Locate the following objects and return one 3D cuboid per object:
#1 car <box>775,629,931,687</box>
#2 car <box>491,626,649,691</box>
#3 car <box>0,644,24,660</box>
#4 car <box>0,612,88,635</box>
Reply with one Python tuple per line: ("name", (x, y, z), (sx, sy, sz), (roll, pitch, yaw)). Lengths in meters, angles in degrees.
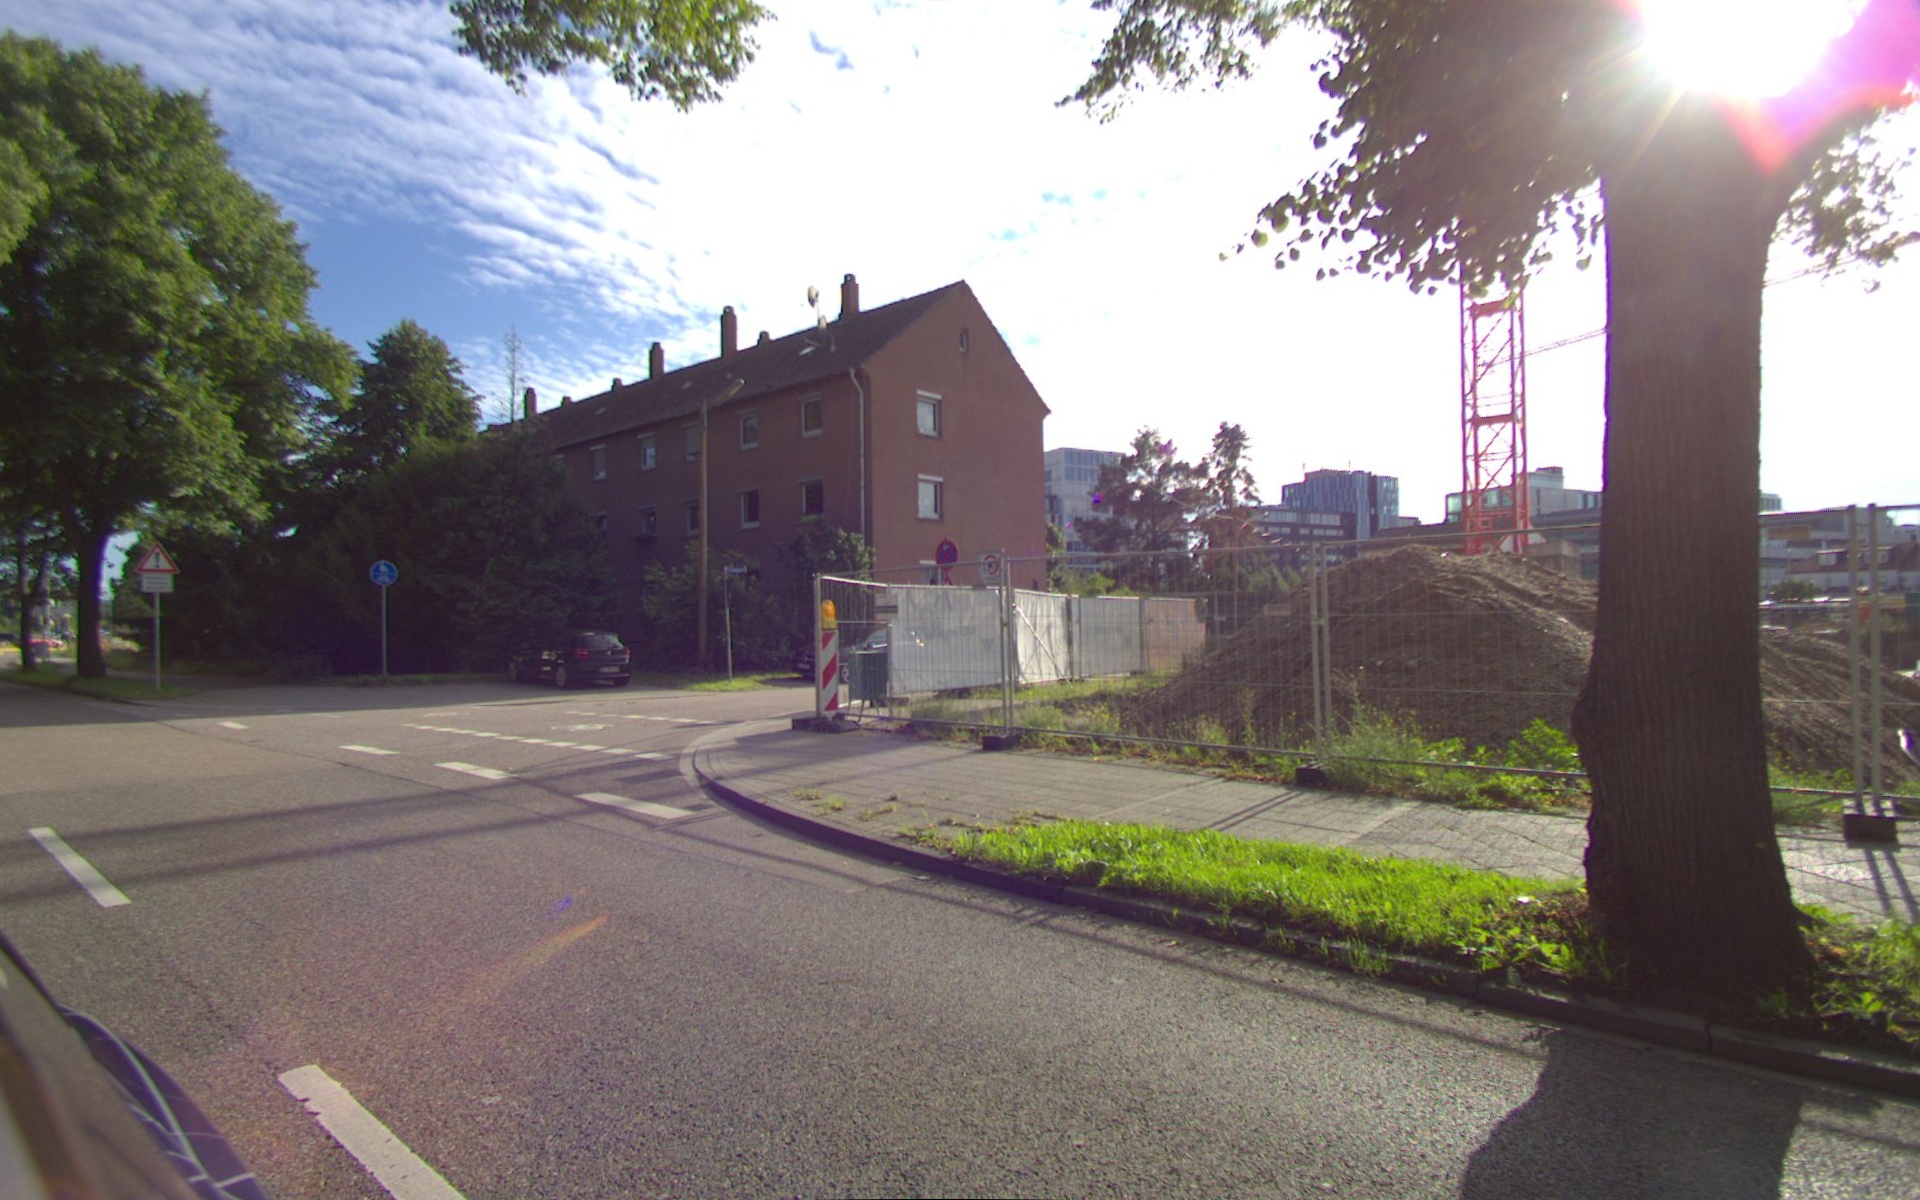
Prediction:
("car", (-2.931, 1.557, 28.187), (2.001, 1.314, 3.942), (4, 2, 44))
("car", (-9.926, 1.411, 25.581), (4.508, 1.439, 1.971), (-1, -1, 43))
("car", (-97.330, 5.289, 101.280), (2.295, 1.535, 4.824), (-1, 0, 27))
("car", (-83.664, 2.121, 92.290), (6.161, 1.881, 2.479), (-1, -1, -2))
